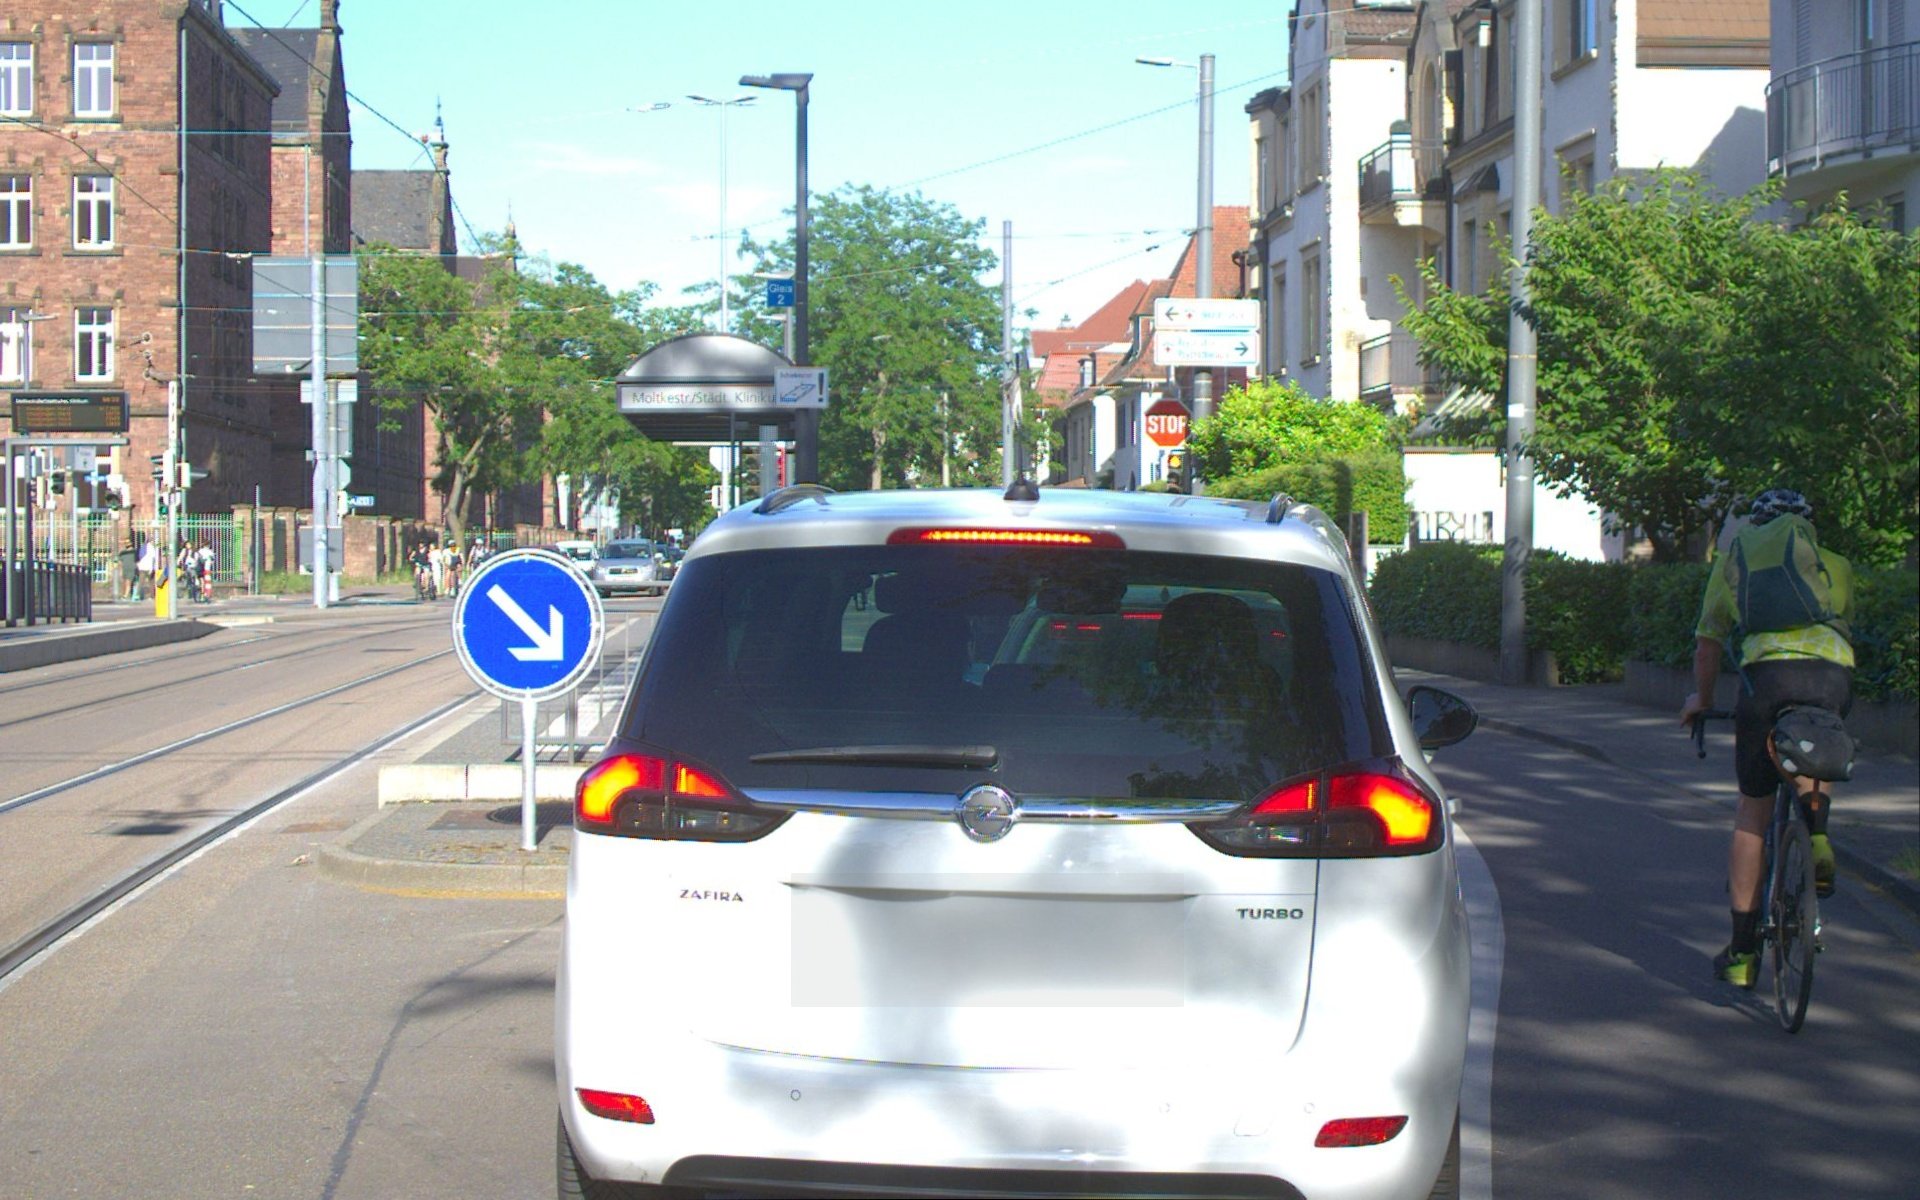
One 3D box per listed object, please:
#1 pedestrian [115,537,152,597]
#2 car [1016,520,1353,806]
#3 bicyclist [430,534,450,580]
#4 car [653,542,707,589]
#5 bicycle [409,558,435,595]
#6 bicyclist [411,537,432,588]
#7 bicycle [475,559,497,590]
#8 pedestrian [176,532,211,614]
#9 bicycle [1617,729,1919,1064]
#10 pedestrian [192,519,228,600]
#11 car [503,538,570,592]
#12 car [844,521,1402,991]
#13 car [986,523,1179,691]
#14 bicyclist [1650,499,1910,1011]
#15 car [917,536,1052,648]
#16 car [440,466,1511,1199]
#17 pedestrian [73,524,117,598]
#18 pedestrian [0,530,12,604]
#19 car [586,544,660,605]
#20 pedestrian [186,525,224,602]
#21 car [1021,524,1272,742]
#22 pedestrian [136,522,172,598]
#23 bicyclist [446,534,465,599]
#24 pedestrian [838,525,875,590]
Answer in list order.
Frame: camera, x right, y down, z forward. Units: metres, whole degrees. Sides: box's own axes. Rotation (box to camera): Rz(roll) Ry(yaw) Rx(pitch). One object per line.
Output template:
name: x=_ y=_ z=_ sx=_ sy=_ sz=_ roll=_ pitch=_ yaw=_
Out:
pedestrian: x=-22.373 y=-0.884 z=93.061 sx=0.655 sy=1.606 sz=0.710 roll=1 pitch=0 yaw=30
car: x=1.503 y=0.318 z=21.601 sx=1.907 sy=1.619 sz=3.999 roll=0 pitch=1 yaw=7
bicyclist: x=-16.652 y=-1.386 z=110.145 sx=0.531 sy=1.472 sz=0.572 roll=1 pitch=0 yaw=-1
car: x=-10.496 y=-1.296 z=129.056 sx=1.746 sy=1.710 sz=4.000 roll=1 pitch=1 yaw=-1
bicycle: x=-15.674 y=-0.685 z=100.201 sx=0.509 sy=1.073 sz=1.739 roll=1 pitch=1 yaw=-1
bicyclist: x=-15.673 y=-1.088 z=100.045 sx=0.531 sy=1.472 sz=0.572 roll=1 pitch=0 yaw=-1
bicycle: x=-15.235 y=-0.820 z=110.485 sx=0.487 sy=0.968 sz=1.405 roll=1 pitch=0 yaw=0
pedestrian: x=-19.142 y=-0.674 z=85.836 sx=0.794 sy=2.007 sz=1.047 roll=1 pitch=0 yaw=-15
bicycle: x=2.718 y=0.943 z=11.455 sx=0.676 sy=0.922 sz=1.885 roll=0 pitch=1 yaw=-1
pedestrian: x=-18.532 y=-1.000 z=84.960 sx=0.794 sy=2.007 sz=0.721 roll=1 pitch=0 yaw=-17
car: x=-13.994 y=-1.161 z=113.694 sx=1.746 sy=1.710 sz=4.000 roll=1 pitch=1 yaw=-1
car: x=0.782 y=0.491 z=13.761 sx=1.907 sy=1.592 sz=3.999 roll=0 pitch=1 yaw=7
car: x=1.242 y=0.035 z=36.098 sx=1.907 sy=1.656 sz=4.000 roll=0 pitch=1 yaw=1
bicyclist: x=2.725 y=0.495 z=11.482 sx=0.676 sy=1.652 sz=0.745 roll=0 pitch=1 yaw=-1
car: x=0.336 y=-0.150 z=53.076 sx=1.907 sy=1.656 sz=4.001 roll=0 pitch=1 yaw=-2
car: x=0.241 y=0.556 z=8.083 sx=1.907 sy=1.656 sz=3.999 roll=0 pitch=1 yaw=7
pedestrian: x=-22.394 y=-1.019 z=89.007 sx=0.808 sy=1.894 sz=0.743 roll=1 pitch=0 yaw=14
pedestrian: x=-23.322 y=-0.799 z=83.084 sx=0.766 sy=1.768 sz=0.721 roll=1 pitch=0 yaw=-17
car: x=-9.690 y=-0.738 z=99.016 sx=1.746 sy=1.710 sz=4.000 roll=1 pitch=1 yaw=-1
pedestrian: x=-19.925 y=-0.972 z=90.743 sx=0.795 sy=2.007 sz=0.721 roll=1 pitch=0 yaw=-29
car: x=1.566 y=0.216 z=28.261 sx=1.907 sy=1.656 sz=4.000 roll=0 pitch=1 yaw=4
pedestrian: x=-21.538 y=-1.067 z=91.872 sx=0.691 sy=2.007 sz=0.616 roll=1 pitch=0 yaw=40
bicyclist: x=-15.689 y=-1.040 z=106.976 sx=0.498 sy=2.007 sz=0.572 roll=1 pitch=0 yaw=-1
pedestrian: x=-3.041 y=-1.247 z=101.063 sx=0.741 sy=1.894 sz=0.810 roll=0 pitch=1 yaw=-41
